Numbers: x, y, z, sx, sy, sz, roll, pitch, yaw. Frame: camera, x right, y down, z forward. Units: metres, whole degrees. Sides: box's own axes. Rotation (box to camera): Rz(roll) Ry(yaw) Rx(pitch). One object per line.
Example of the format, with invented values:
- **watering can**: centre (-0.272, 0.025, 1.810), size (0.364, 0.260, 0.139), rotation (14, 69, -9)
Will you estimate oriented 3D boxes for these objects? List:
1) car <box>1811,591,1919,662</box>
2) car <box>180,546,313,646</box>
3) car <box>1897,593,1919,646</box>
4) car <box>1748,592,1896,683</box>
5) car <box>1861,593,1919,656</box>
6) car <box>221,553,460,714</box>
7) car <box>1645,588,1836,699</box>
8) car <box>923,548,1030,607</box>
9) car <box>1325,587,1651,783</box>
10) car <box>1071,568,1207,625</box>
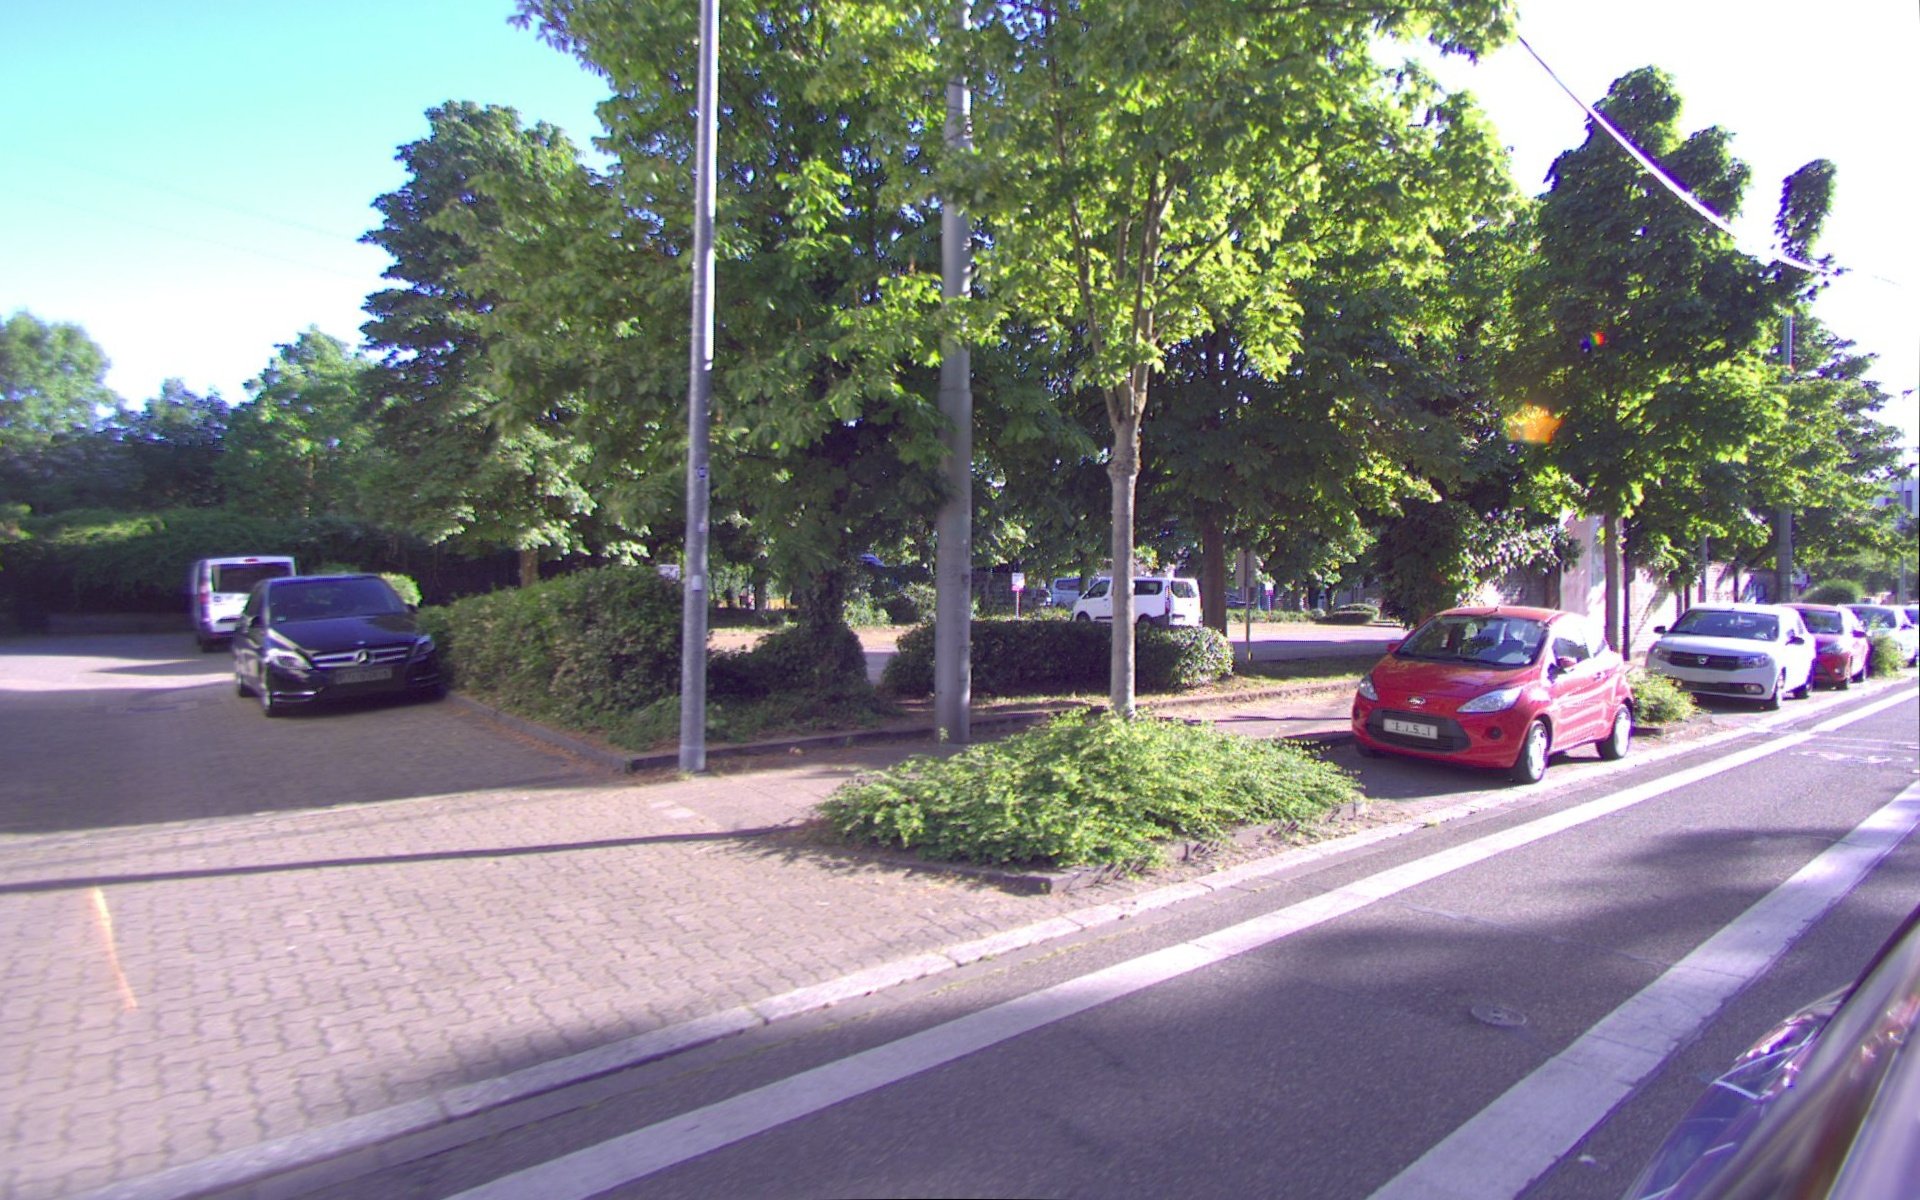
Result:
- **car**: centre (22.281, 0.576, 24.488), size (3.925, 1.549, 1.694), rotation (0, 2, -37)
- **car**: centre (-16.109, -0.045, 22.751), size (1.965, 2.008, 4.822), rotation (0, -1, -41)
- **car**: centre (29.891, 0.577, 30.499), size (3.925, 1.549, 1.694), rotation (0, 2, -37)
- **car**: centre (16.879, 0.652, 19.760), size (3.932, 1.549, 1.691), rotation (0, 2, -42)
- **car**: centre (25.688, 0.624, 26.941), size (4.274, 1.549, 1.694), rotation (0, 2, -37)
- **car**: centre (-7.784, 0.363, 12.534), size (1.860, 1.645, 4.155), rotation (0, -1, -41)
- **car**: centre (12.723, 0.608, 16.414), size (3.930, 1.549, 1.692), rotation (0, 2, -41)
- **car**: centre (0.624, -0.883, 41.010), size (2.106, 2.269, 4.194), rotation (0, 1, -41)
- **car**: centre (5.234, 0.679, 9.903), size (3.336, 1.527, 1.639), rotation (0, 3, -40)
- **car**: centre (6.129, -0.102, 35.137), size (2.007, 1.848, 4.478), rotation (0, -1, -37)
